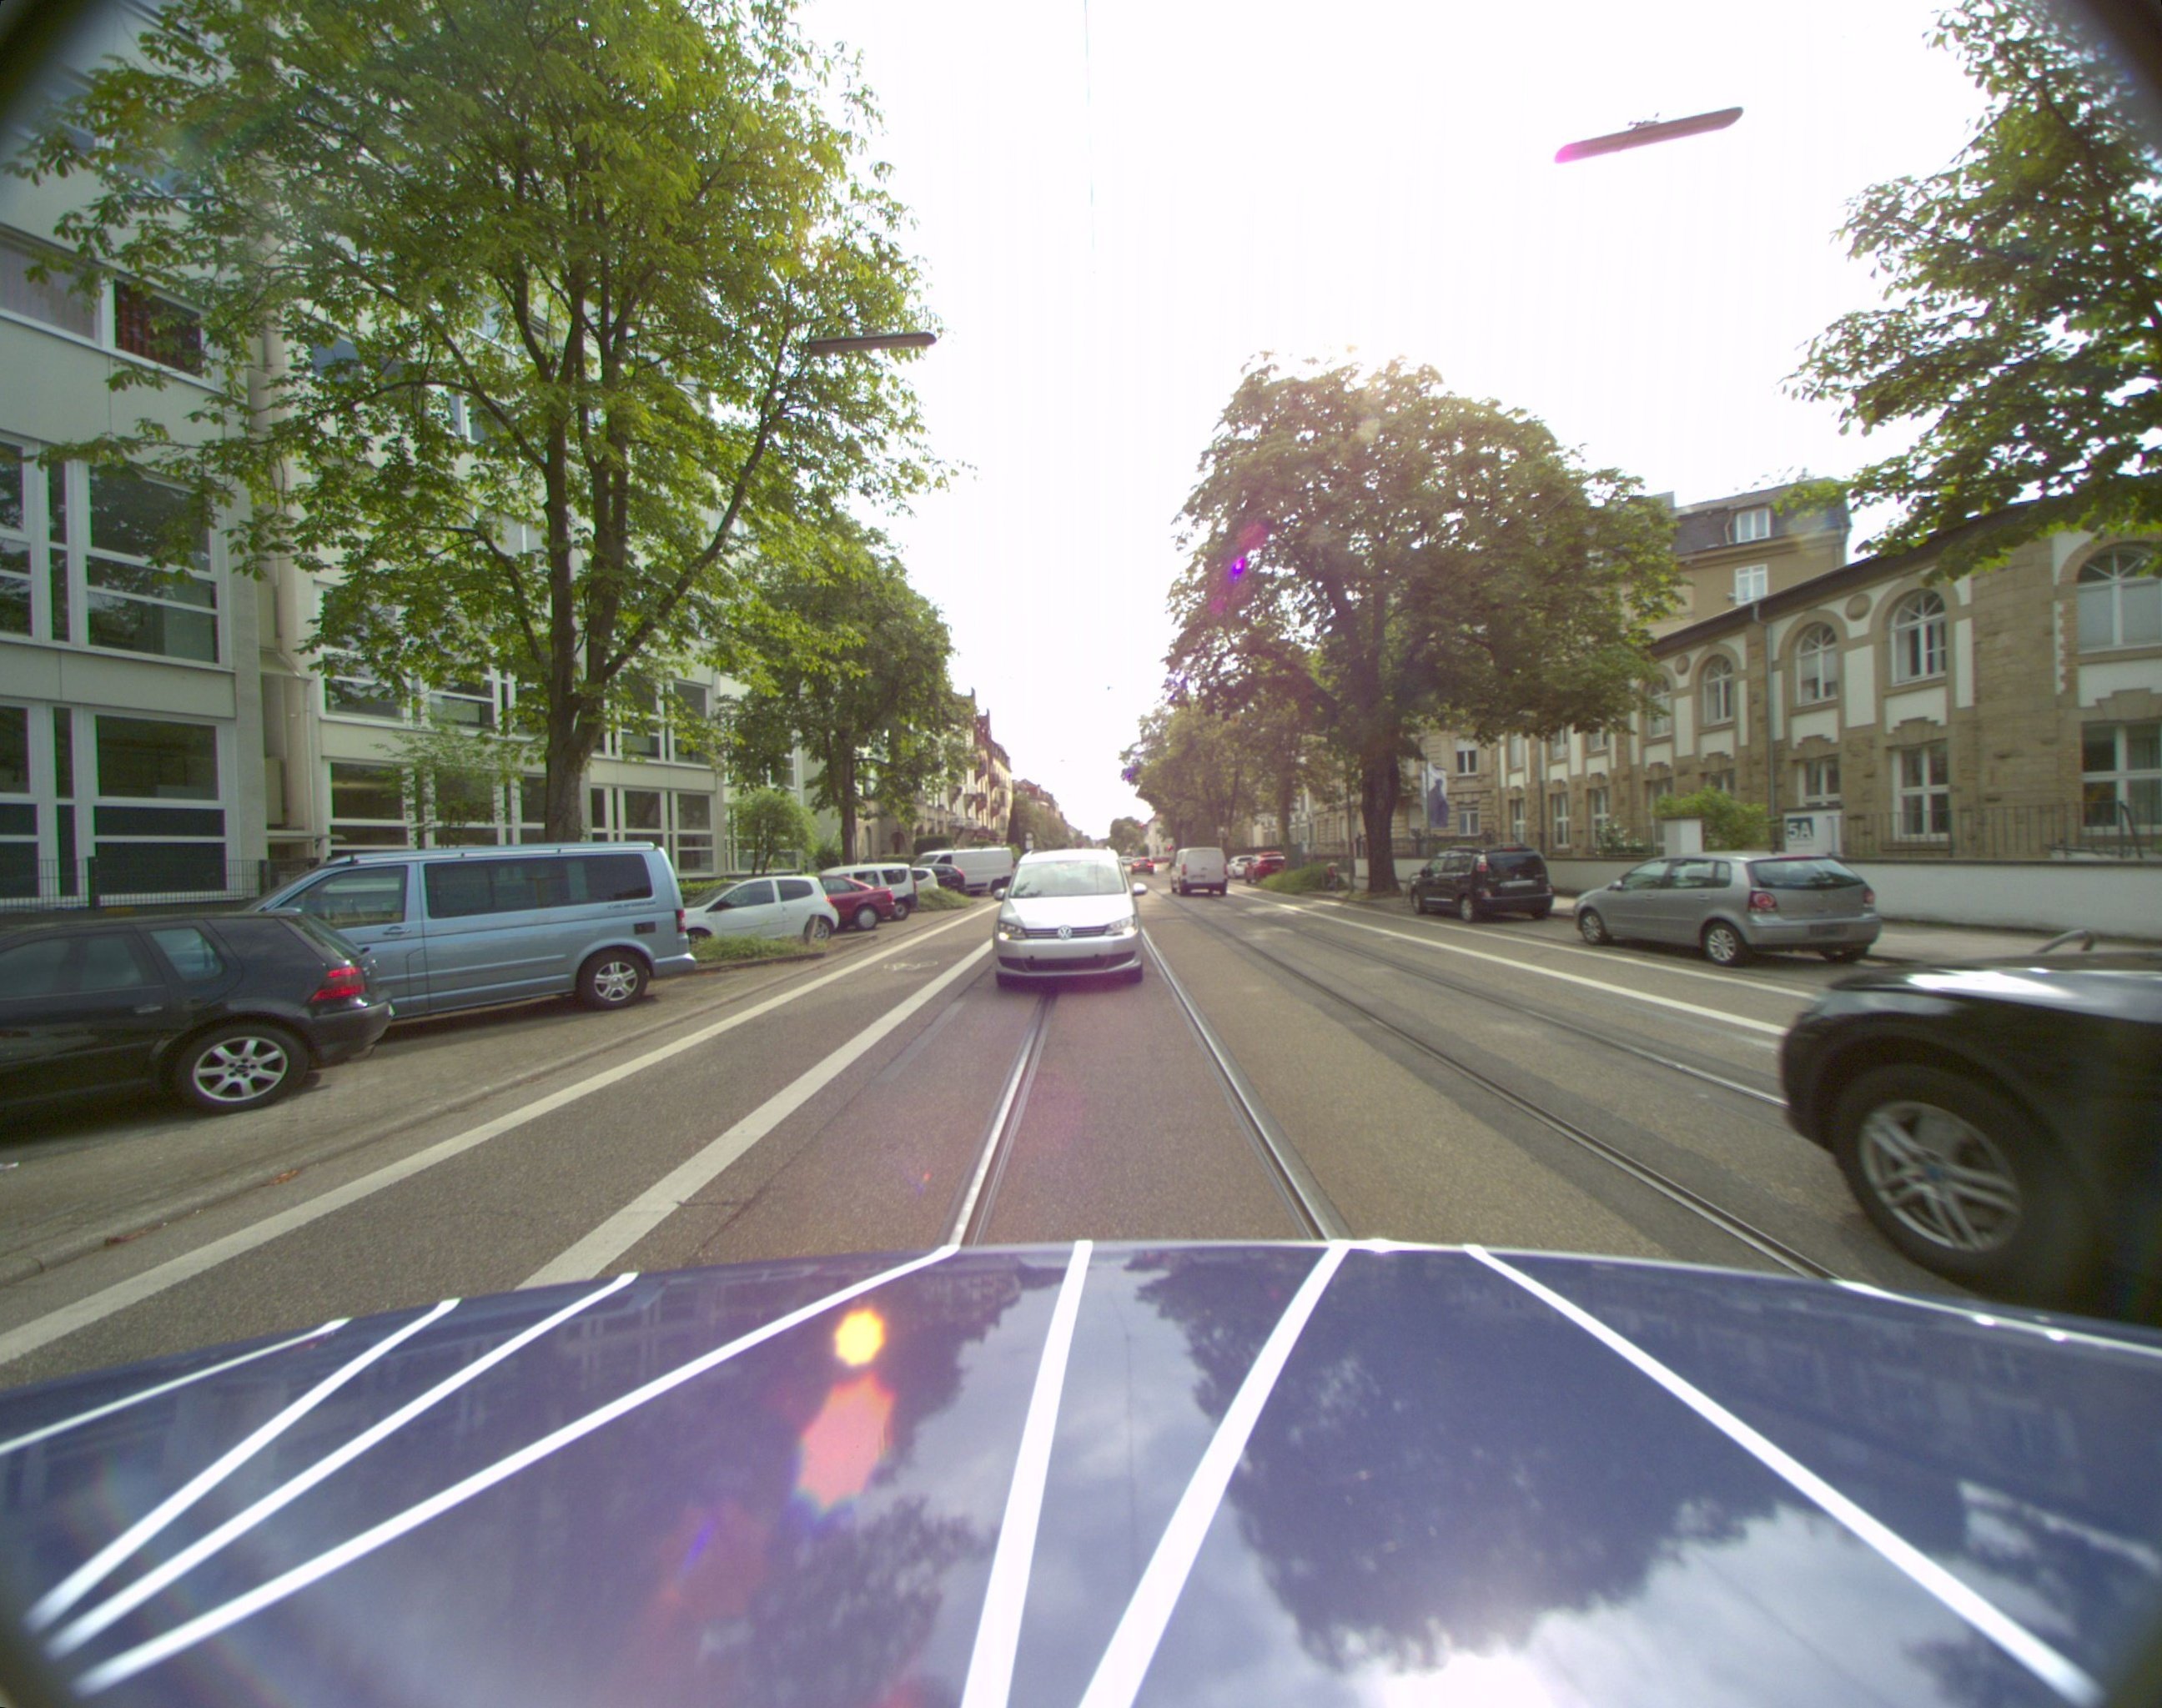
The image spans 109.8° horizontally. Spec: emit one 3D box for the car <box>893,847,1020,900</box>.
[{"bbox_3d":[-5.719,0.831,35.486,5.449,2.163,2.142,-2,1,-40],"label":"car"}]

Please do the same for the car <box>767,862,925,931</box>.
[{"bbox_3d":[-6.542,1.118,21.306,3.777,1.609,1.809,-2,1,-40],"label":"car"}]

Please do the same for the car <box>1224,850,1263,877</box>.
[{"bbox_3d":[10.370,0.590,48.698,1.659,1.592,3.906,-2,0,1],"label":"car"}]

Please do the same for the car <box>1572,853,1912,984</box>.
[{"bbox_3d":[8.837,0.750,10.617,1.632,1.456,3.574,-2,0,1],"label":"car"}]

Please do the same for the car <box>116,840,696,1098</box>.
[{"bbox_3d":[-6.987,0.939,8.450,4.354,2.052,1.994,-2,0,-45],"label":"car"}]

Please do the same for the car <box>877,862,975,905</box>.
[{"bbox_3d":[-6.477,1.178,31.807,3.649,1.580,1.764,-2,1,-25],"label":"car"}]

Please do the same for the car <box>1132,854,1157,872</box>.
[{"bbox_3d":[5.429,0.745,65.174,1.786,1.506,4.144,-2,0,1],"label":"car"}]

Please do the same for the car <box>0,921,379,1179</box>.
[{"bbox_3d":[-7.404,1.324,5.004,3.980,1.379,1.810,-3,-1,-44],"label":"car"}]

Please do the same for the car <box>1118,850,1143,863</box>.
[{"bbox_3d":[8.147,0.353,124.136,3.995,2.002,2.001,-2,0,6],"label":"car"}]

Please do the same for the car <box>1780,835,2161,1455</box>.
[{"bbox_3d":[3.701,0.750,0.887,1.852,1.603,4.334,-2,0,2],"label":"car"}]

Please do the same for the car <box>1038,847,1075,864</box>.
[{"bbox_3d":[-4.093,0.280,125.796,5.919,2.585,2.003,-2,0,29],"label":"car"}]

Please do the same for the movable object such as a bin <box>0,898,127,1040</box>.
[{"bbox_3d":[-12.216,1.285,8.484,1.334,1.450,1.400,-2,0,5],"label":"movable object such as a bin"}]

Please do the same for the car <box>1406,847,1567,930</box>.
[{"bbox_3d":[8.985,0.692,17.206,1.659,1.624,3.725,-2,0,1],"label":"car"}]

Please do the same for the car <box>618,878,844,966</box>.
[{"bbox_3d":[-6.849,1.249,15.089,3.652,1.322,1.763,-3,1,-44],"label":"car"}]

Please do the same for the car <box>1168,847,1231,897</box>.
[{"bbox_3d":[4.659,0.664,30.466,1.799,1.813,4.678,-2,0,1],"label":"car"}]

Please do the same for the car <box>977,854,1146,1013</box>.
[{"bbox_3d":[-0.187,0.884,10.730,1.816,1.691,4.617,-2,0,1],"label":"car"}]

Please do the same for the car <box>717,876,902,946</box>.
[{"bbox_3d":[-6.505,1.289,18.388,3.777,1.331,1.809,-2,1,-40],"label":"car"}]

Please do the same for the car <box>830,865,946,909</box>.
[{"bbox_3d":[-6.971,1.148,27.674,3.652,1.322,1.763,-3,1,-44],"label":"car"}]

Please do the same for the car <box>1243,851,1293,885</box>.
[{"bbox_3d":[9.757,0.696,39.939,1.659,1.624,3.906,-2,0,1],"label":"car"}]
